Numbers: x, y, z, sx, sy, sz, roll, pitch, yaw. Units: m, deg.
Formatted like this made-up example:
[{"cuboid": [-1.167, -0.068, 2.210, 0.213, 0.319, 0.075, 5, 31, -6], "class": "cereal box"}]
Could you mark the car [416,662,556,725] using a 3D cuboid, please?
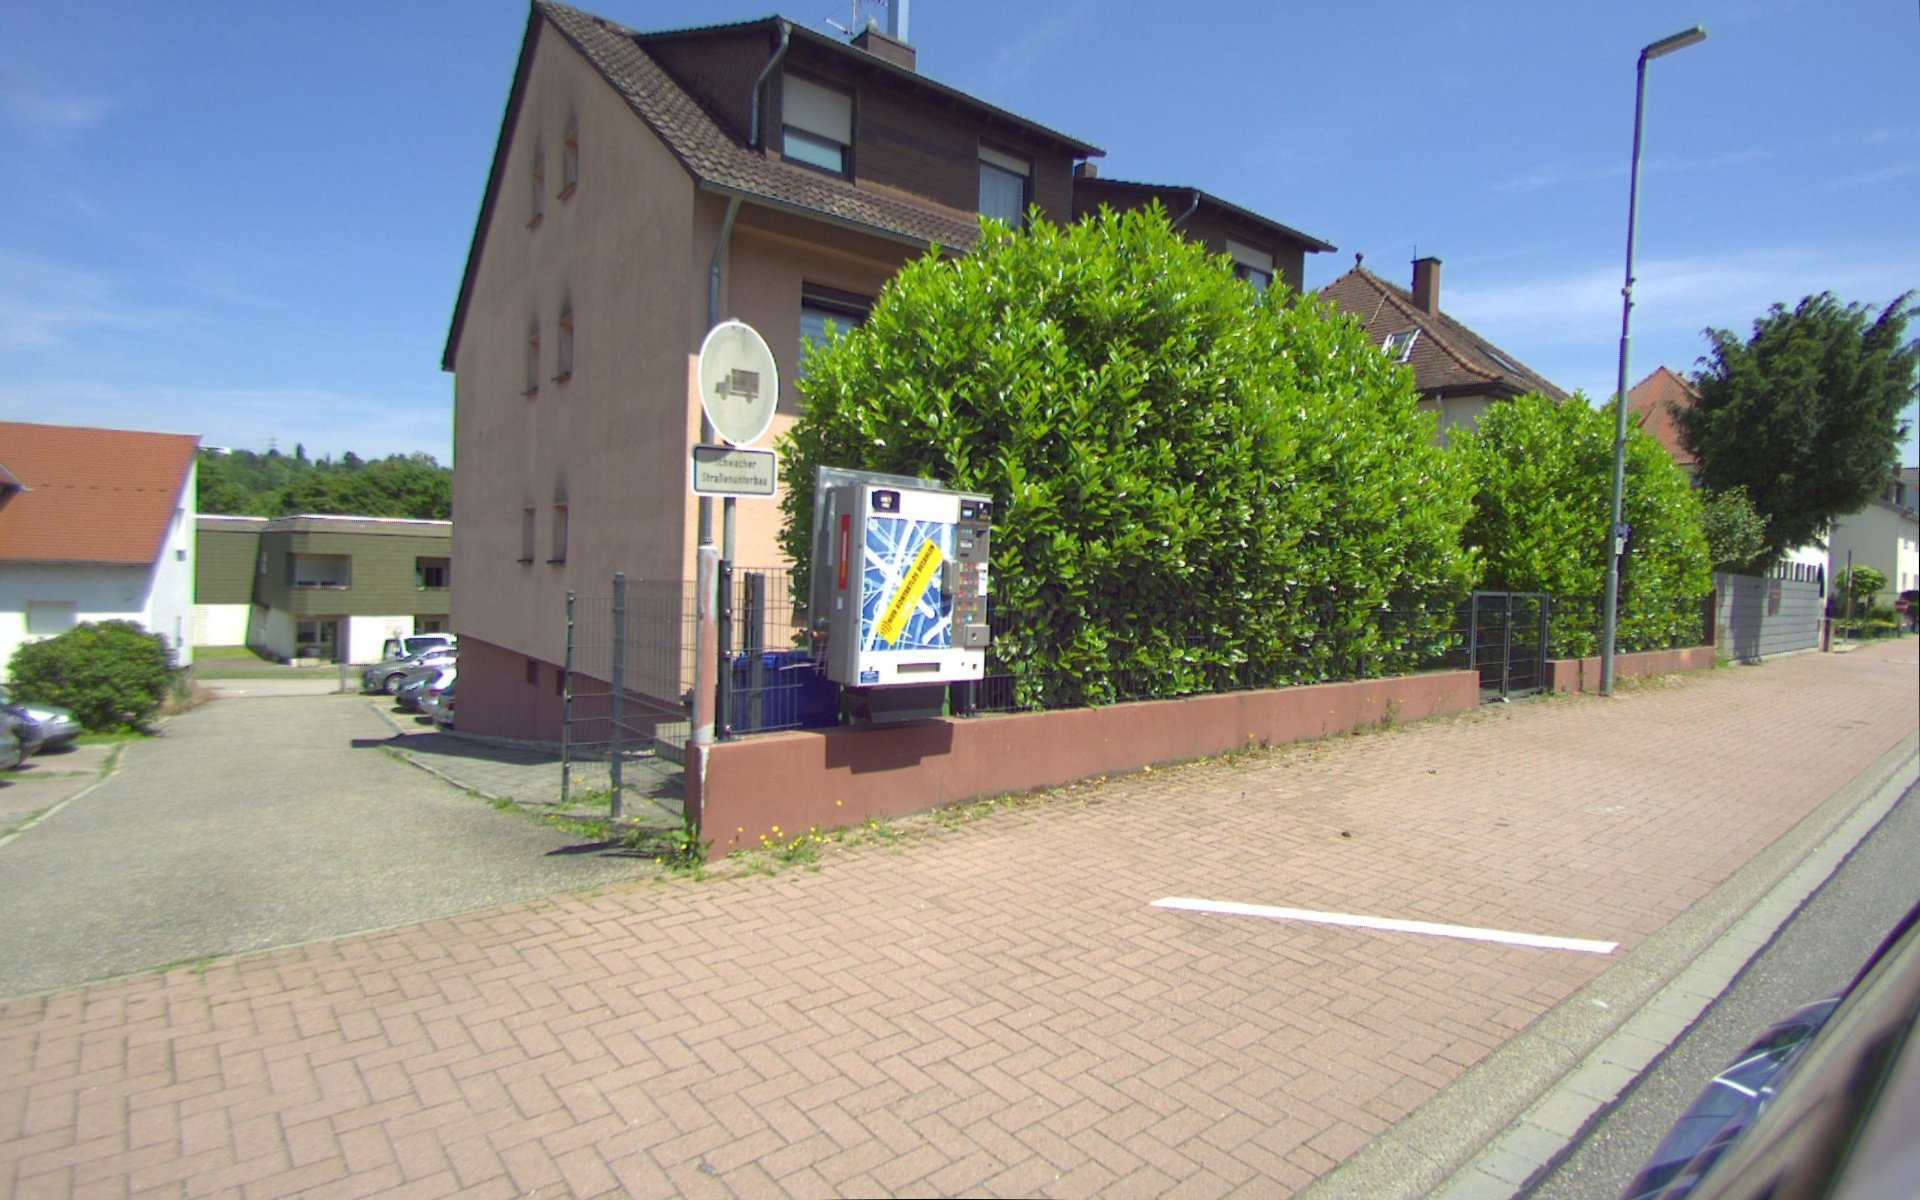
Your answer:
[{"cuboid": [-13.666, 2.644, 29.213, 3.465, 1.459, 1.749, -1, 0, -33], "class": "car"}]

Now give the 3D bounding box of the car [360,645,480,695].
[{"cuboid": [-18.442, 2.361, 34.615, 3.467, 1.459, 1.552, -1, 0, -35], "class": "car"}]

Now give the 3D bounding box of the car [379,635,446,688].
[{"cuboid": [-20.753, 2.297, 38.291, 1.683, 1.852, 3.997, 0, -2, -36], "class": "car"}]

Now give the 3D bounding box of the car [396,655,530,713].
[{"cuboid": [-15.220, 2.523, 31.008, 3.467, 1.459, 1.748, -1, 0, -35], "class": "car"}]

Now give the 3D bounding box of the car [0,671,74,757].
[{"cuboid": [-18.444, 2.182, 18.465, 3.322, 1.492, 1.325, -2, -3, -39], "class": "car"}]

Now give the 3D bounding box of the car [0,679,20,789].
[{"cuboid": [-14.803, 1.943, 13.470, 3.233, 1.492, 1.325, -2, -3, -39], "class": "car"}]

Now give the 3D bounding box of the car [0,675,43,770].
[{"cuboid": [-16.779, 2.073, 16.029, 3.233, 1.492, 1.325, -2, -3, -39], "class": "car"}]

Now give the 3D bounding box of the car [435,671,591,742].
[{"cuboid": [-11.527, 2.686, 26.107, 3.465, 1.459, 1.749, -1, 0, -33], "class": "car"}]
